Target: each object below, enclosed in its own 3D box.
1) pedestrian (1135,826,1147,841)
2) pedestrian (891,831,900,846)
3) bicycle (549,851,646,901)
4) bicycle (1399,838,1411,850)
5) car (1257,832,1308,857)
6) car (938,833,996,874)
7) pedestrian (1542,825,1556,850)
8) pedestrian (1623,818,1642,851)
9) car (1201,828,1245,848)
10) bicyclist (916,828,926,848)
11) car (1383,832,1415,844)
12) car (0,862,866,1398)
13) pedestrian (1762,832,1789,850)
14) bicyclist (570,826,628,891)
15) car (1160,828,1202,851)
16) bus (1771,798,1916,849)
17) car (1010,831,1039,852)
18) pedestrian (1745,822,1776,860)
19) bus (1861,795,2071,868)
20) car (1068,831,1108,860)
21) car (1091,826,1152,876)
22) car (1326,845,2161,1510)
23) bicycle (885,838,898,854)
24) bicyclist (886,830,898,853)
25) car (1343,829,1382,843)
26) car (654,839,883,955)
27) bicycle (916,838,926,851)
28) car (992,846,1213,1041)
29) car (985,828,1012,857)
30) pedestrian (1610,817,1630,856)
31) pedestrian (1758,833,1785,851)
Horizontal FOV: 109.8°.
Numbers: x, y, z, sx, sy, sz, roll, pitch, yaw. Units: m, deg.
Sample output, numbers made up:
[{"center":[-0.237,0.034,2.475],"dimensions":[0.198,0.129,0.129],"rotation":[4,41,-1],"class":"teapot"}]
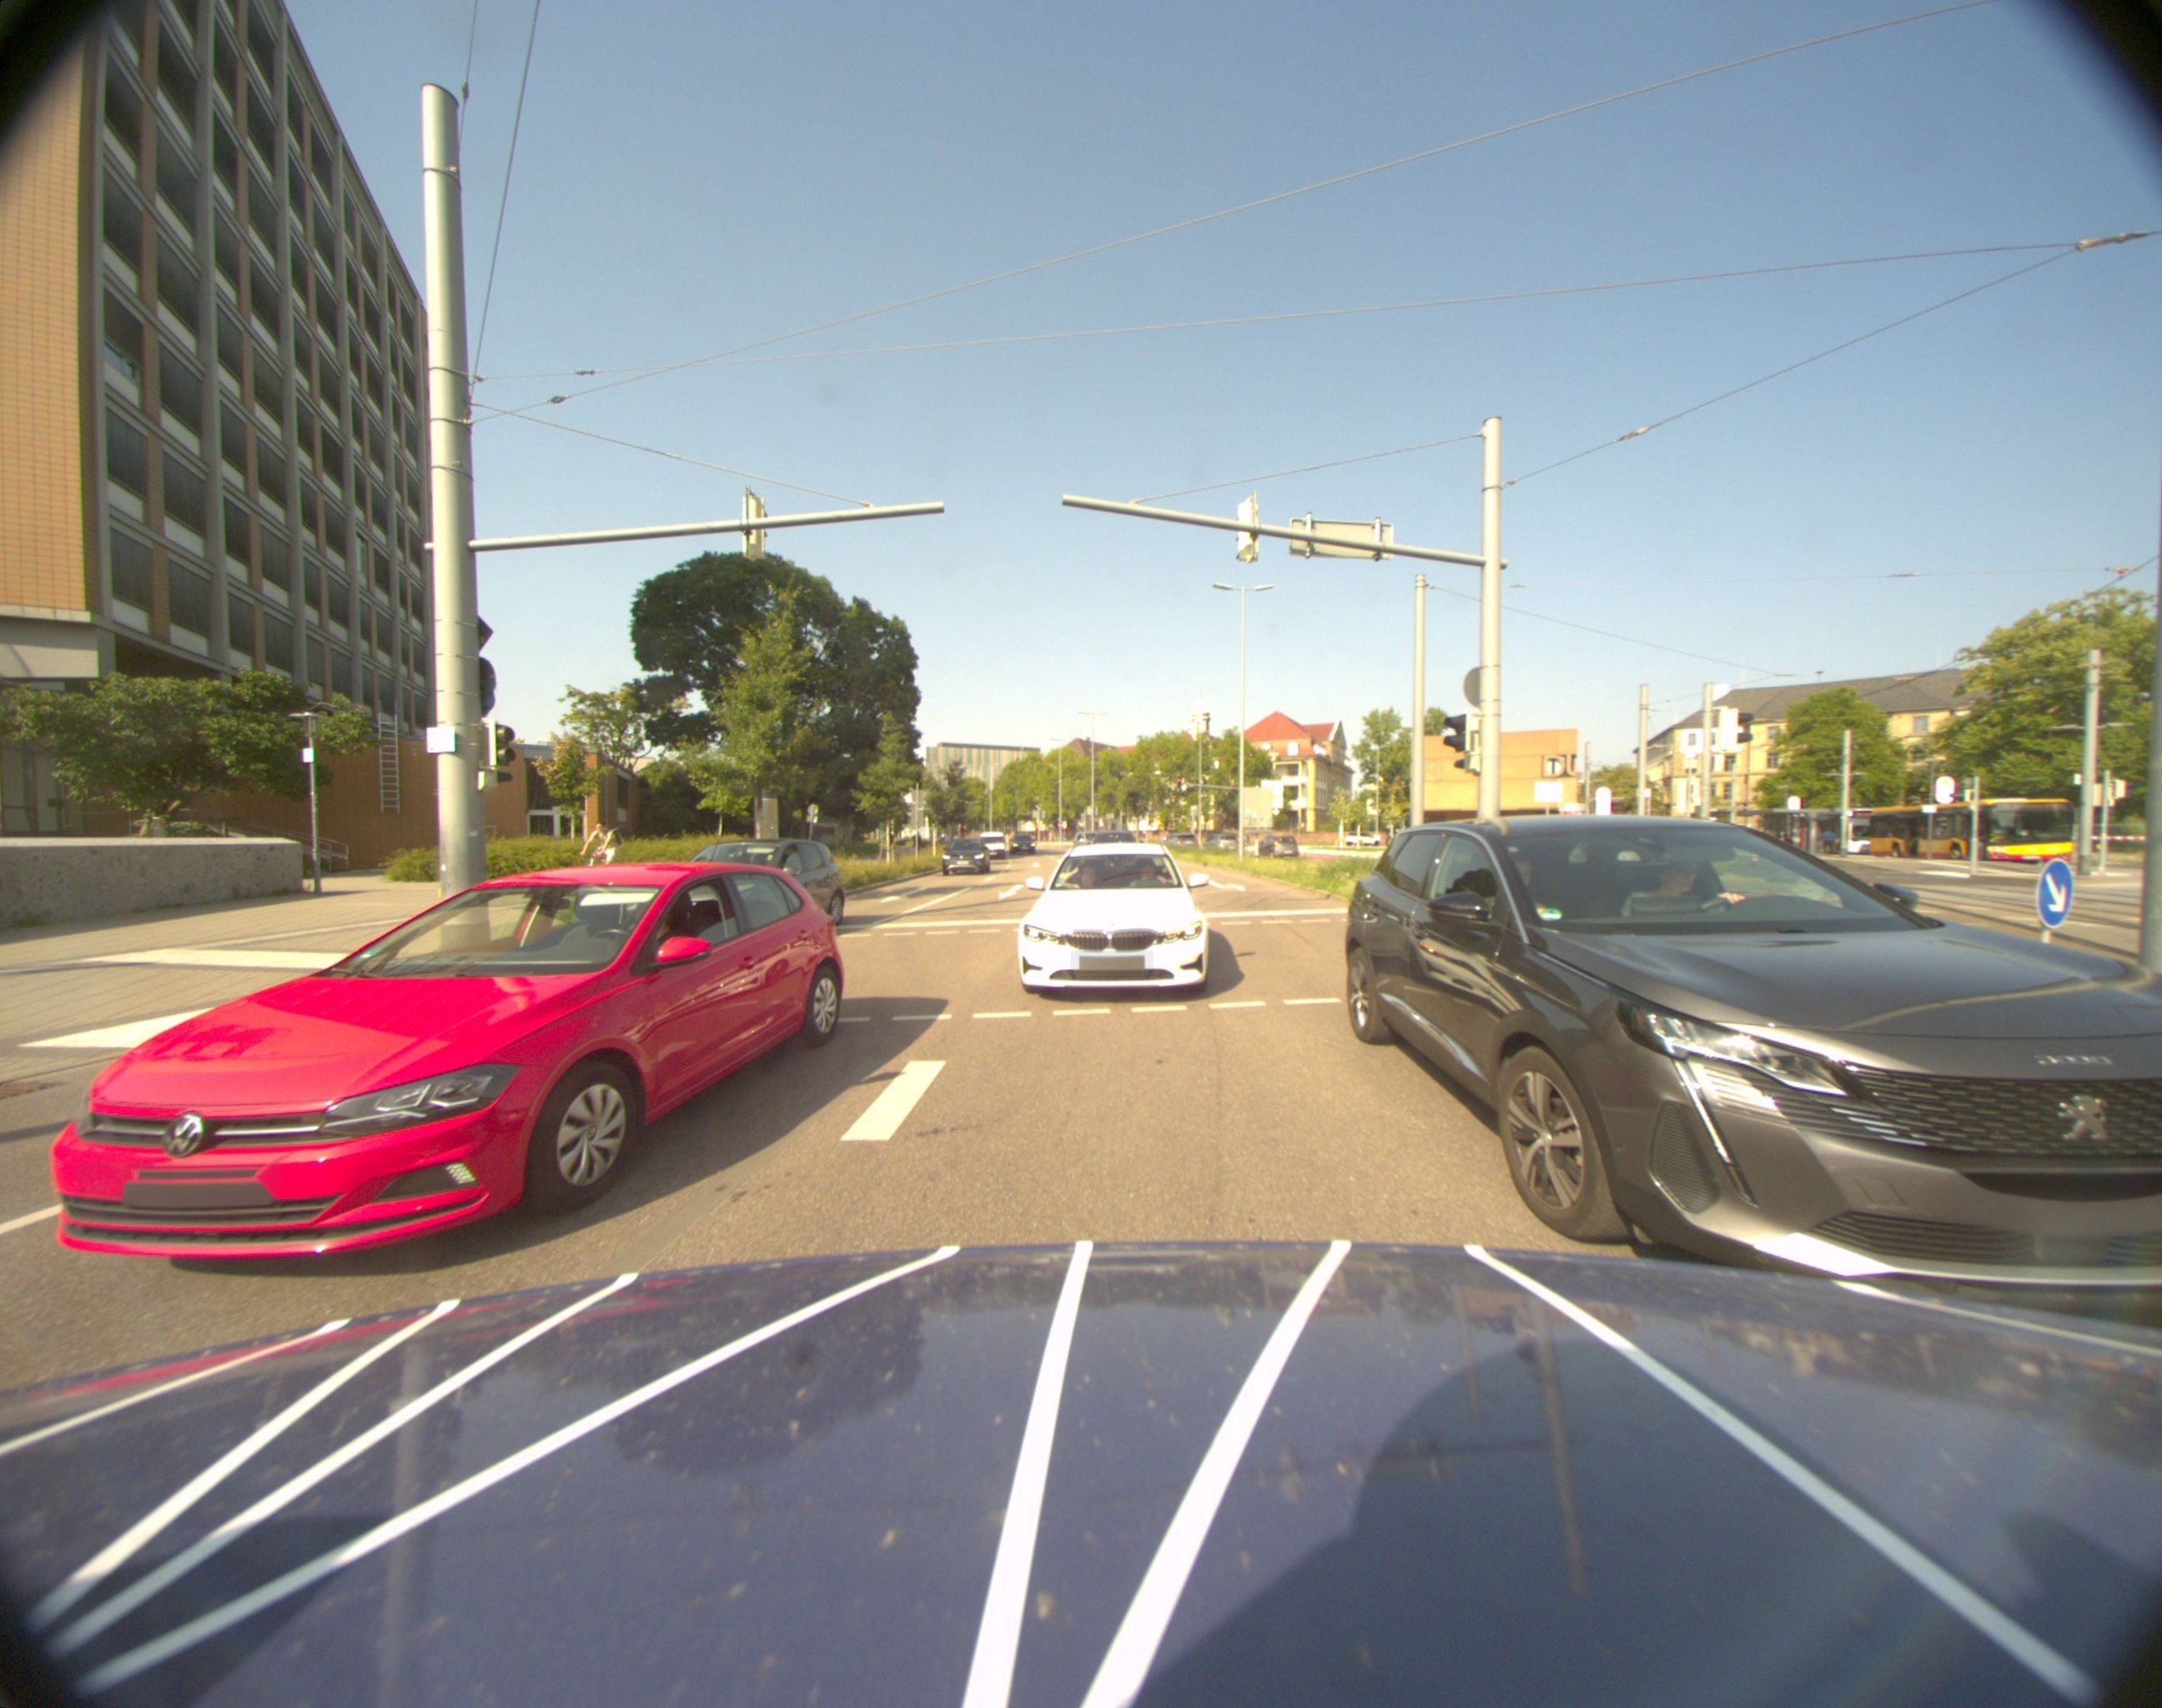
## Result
[{"center":[7.887,-2.731,100.005],"dimensions":[1.080,2.003,1.316],"rotation":[-2,3,-19],"class":"pedestrian"},{"center":[-17.332,-1.445,70.986],"dimensions":[0.728,1.435,0.855],"rotation":[-1,2,-22],"class":"pedestrian"},{"center":[-12.023,0.521,19.003],"dimensions":[0.773,1.111,2.303],"rotation":[0,2,4],"class":"bicycle"},{"center":[23.092,-0.730,54.156],"dimensions":[0.591,0.833,1.550],"rotation":[-2,0,30],"class":"bicycle"},{"center":[12.028,-0.607,45.675],"dimensions":[1.894,1.444,3.672],"rotation":[0,2,-4],"class":"car"},{"center":[-4.894,-0.064,33.199],"dimensions":[1.940,1.598,4.531],"rotation":[-1,1,-2],"class":"car"},{"center":[32.017,-1.126,52.014],"dimensions":[0.717,1.728,0.858],"rotation":[1,3,27],"class":"pedestrian"},{"center":[30.177,-1.057,41.581],"dimensions":[0.699,1.790,0.781],"rotation":[1,3,26],"class":"pedestrian"},{"center":[10.451,-1.197,56.114],"dimensions":[1.820,1.425,4.219],"rotation":[0,2,-11],"class":"car"},{"center":[-12.269,-1.219,58.299],"dimensions":[0.722,1.504,1.003],"rotation":[-1,2,-11],"class":"bicyclist"},{"center":[39.317,-2.011,93.950],"dimensions":[3.856,1.490,1.621],"rotation":[-1,3,-29],"class":"car"},{"center":[-2.879,0.871,4.540],"dimensions":[1.686,1.483,4.372],"rotation":[0,2,4],"class":"car"},{"center":[43.964,-0.800,48.132],"dimensions":[1.028,1.127,0.739],"rotation":[1,2,20],"class":"pedestrian"},{"center":[-12.028,0.099,18.978],"dimensions":[0.772,1.584,0.924],"rotation":[0,2,5],"class":"bicyclist"},{"center":[7.257,-1.119,55.437],"dimensions":[1.700,1.608,4.455],"rotation":[0,2,-11],"class":"car"},{"center":[50.254,-1.997,50.670],"dimensions":[3.290,2.961,12.818],"rotation":[1,2,29],"class":"bus"},{"center":[-4.646,-1.031,62.013],"dimensions":[1.689,1.645,4.366],"rotation":[0,2,-12],"class":"car"},{"center":[32.029,-0.628,35.813],"dimensions":[0.780,1.790,0.700],"rotation":[0,2,-7],"class":"pedestrian"},{"center":[43.748,-1.158,38.280],"dimensions":[2.709,3.091,12.235],"rotation":[1,2,29],"class":"bus"},{"center":[0.425,-0.539,49.065],"dimensions":[1.784,1.710,4.529],"rotation":[-3,1,-9],"class":"car"},{"center":[1.454,-0.143,28.986],"dimensions":[1.783,1.683,4.531],"rotation":[-3,1,-3],"class":"car"},{"center":[2.623,0.726,3.921],"dimensions":[1.686,1.483,4.373],"rotation":[0,2,5],"class":"car"},{"center":[-13.713,-0.611,55.011],"dimensions":[0.774,1.111,2.300],"rotation":[-1,2,-11],"class":"bicycle"},{"center":[-13.728,-0.933,55.100],"dimensions":[0.774,1.667,0.923],"rotation":[-1,2,-11],"class":"bicyclist"},{"center":[33.554,-2.161,90.538],"dimensions":[4.378,1.624,1.995],"rotation":[-1,2,-29],"class":"car"},{"center":[-5.158,0.593,13.327],"dimensions":[1.782,1.597,4.422],"rotation":[-3,1,5],"class":"car"},{"center":[-12.261,-0.739,58.255],"dimensions":[0.722,0.954,1.919],"rotation":[-1,2,-11],"class":"bicycle"},{"center":[0.401,0.690,8.382],"dimensions":[1.781,1.474,4.534],"rotation":[0,2,6],"class":"car"},{"center":[-5.704,-0.820,52.083],"dimensions":[1.688,1.931,4.367],"rotation":[0,2,-8],"class":"car"},{"center":[25.104,-0.822,35.402],"dimensions":[0.699,1.790,0.781],"rotation":[1,3,33],"class":"pedestrian"},{"center":[44.421,-0.799,48.875],"dimensions":[1.028,1.127,0.739],"rotation":[1,2,20],"class":"pedestrian"}]
